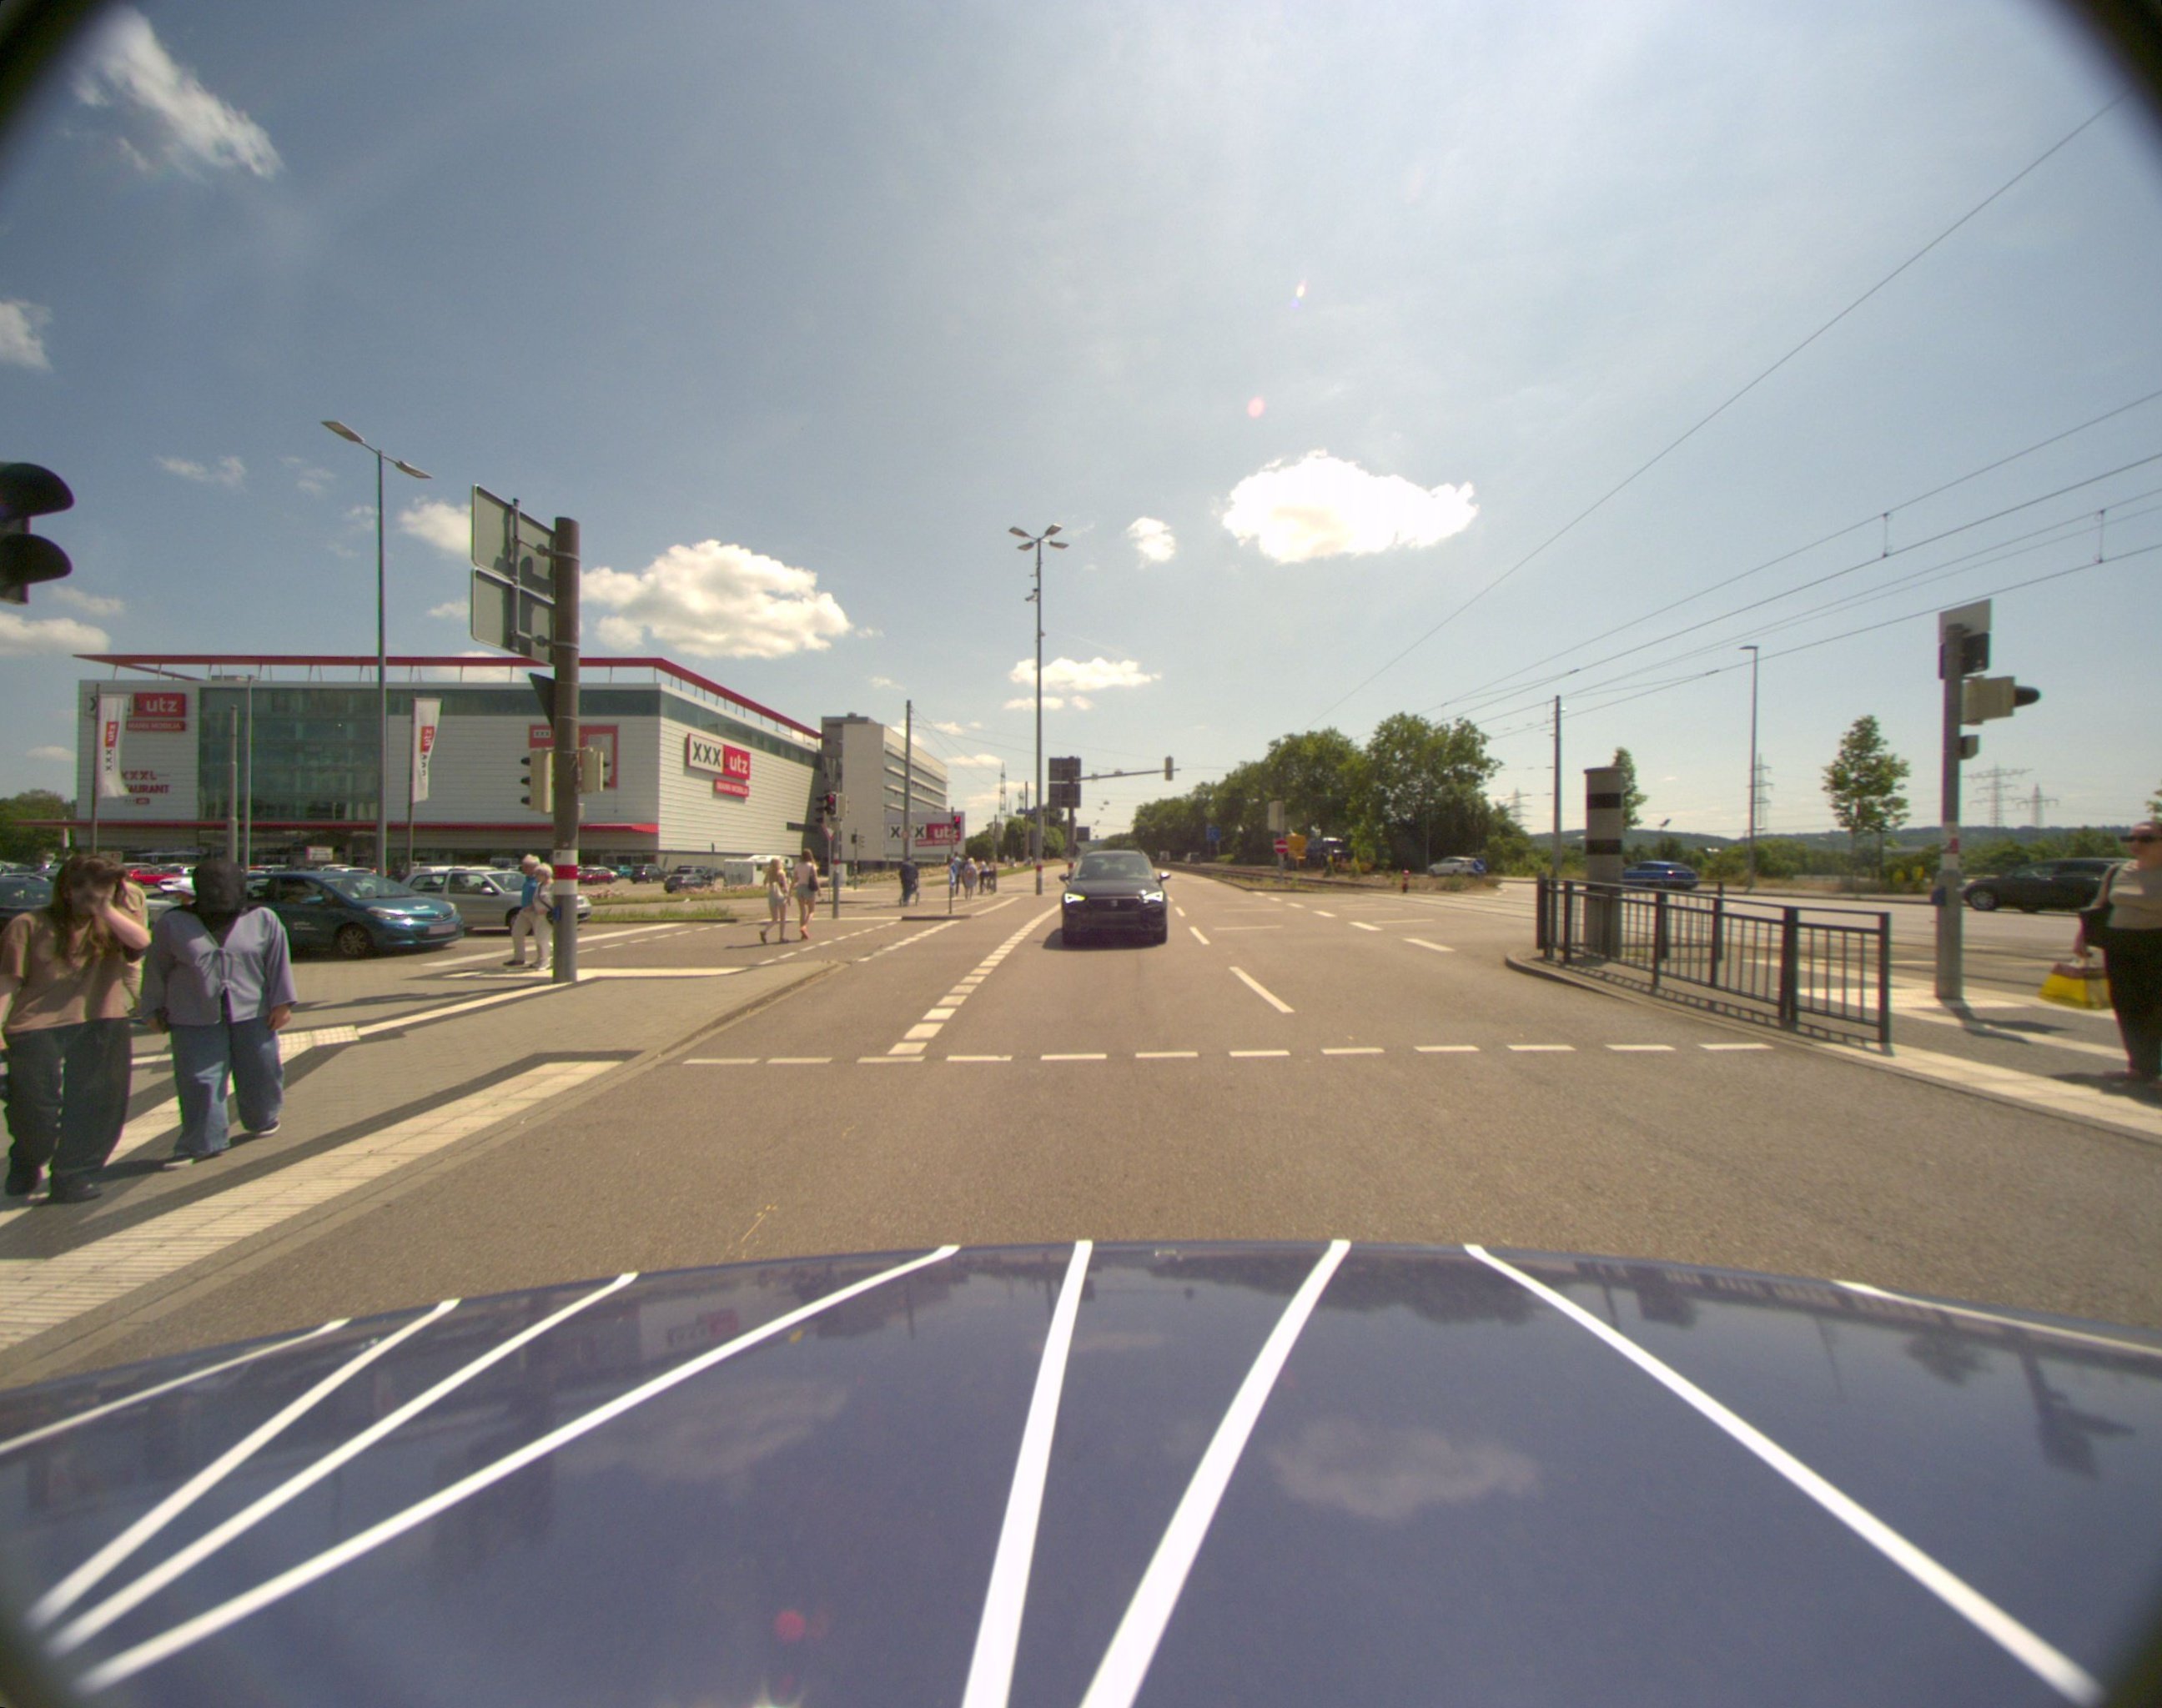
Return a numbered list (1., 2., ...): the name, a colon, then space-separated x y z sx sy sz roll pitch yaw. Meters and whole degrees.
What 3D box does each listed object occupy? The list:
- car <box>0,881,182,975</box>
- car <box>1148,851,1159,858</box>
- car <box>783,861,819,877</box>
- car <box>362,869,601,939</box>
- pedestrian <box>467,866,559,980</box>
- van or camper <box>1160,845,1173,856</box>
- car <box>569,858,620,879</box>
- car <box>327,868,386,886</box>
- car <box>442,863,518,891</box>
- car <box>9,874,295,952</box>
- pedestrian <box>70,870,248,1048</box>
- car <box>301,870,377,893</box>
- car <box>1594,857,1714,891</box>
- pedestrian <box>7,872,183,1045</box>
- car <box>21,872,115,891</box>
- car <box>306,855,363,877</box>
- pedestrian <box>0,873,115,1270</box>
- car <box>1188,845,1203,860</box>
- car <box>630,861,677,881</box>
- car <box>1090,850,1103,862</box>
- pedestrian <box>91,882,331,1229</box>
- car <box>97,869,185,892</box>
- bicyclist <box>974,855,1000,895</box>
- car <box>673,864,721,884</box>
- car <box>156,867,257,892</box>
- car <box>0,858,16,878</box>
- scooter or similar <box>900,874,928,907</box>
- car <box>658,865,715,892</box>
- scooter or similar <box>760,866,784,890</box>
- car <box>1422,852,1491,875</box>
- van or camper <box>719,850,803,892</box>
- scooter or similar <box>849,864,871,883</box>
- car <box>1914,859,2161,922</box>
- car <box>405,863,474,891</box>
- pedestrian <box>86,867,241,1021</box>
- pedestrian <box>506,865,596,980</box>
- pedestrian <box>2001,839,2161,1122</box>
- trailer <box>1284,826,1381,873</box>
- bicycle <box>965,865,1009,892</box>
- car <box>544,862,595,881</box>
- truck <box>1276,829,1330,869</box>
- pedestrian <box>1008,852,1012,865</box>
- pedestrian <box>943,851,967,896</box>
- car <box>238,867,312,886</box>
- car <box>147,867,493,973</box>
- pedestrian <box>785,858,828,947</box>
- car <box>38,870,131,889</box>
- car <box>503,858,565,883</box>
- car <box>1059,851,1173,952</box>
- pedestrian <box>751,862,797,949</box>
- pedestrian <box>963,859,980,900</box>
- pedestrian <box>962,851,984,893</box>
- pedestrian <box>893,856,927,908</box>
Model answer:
1. car: -18.870 1.230 13.163 4.411 1.435 1.853 0 1 1
2. car: 17.491 0.125 183.237 1.999 1.627 4.263 2 0 -4
3. car: -28.345 1.464 77.058 1.999 1.554 4.519 -1 0 -1
4. car: -13.141 1.074 16.828 3.833 1.389 1.803 -1 0 1
5. pedestrian: -8.586 1.017 11.516 0.603 1.628 0.865 -1 2 16
6. van or camper: 20.374 -0.746 181.745 1.999 2.571 5.842 1 0 -3
7. car: -48.700 1.411 76.191 1.998 1.883 4.520 -1 0 2
8. car: -68.699 2.125 72.105 1.693 1.518 4.000 -1 0 1
9. car: -48.971 1.818 62.077 1.998 2.002 4.965 -2 1 3
10. car: -20.080 1.246 16.533 4.228 1.390 1.803 -2 2 6
11. pedestrian: -9.260 1.005 7.663 0.796 1.649 0.853 -1 1 15
12. car: -55.105 2.015 56.524 1.854 1.537 3.998 -1 0 -4
13. car: 26.877 0.905 35.859 2.000 1.436 4.346 -1 0 -9
14. pedestrian: -10.177 1.028 7.870 0.796 1.649 0.853 -1 1 17
15. car: -83.399 2.237 62.657 1.859 1.404 4.256 -1 0 4
16. car: -70.630 1.069 71.974 1.723 2.002 3.604 -1 0 2
17. pedestrian: -4.896 0.932 3.422 0.724 1.673 0.626 0 1 39
18. car: 18.177 -0.207 120.390 1.996 1.826 4.442 2 -5 14
19. car: -43.434 1.729 77.311 1.998 1.883 4.520 -1 0 2
20. car: 2.461 0.369 121.098 1.819 1.829 4.001 -1 0 5
21. pedestrian: -4.730 0.974 4.157 0.894 1.597 0.769 0 1 40
22. car: -76.383 2.134 61.838 1.852 1.692 4.172 -1 0 4
23. bicyclist: -4.130 0.912 33.274 0.797 1.690 0.818 0 -1 40
24. car: -36.404 1.860 72.172 1.998 1.707 4.503 -2 1 2
25. car: -66.695 1.933 58.102 1.852 1.692 4.871 -1 0 5
26. car: -105.500 1.393 72.495 1.999 2.002 3.999 -1 0 -1
27. scooter or similar: -5.575 1.216 25.424 0.691 1.025 0.863 -1 1 4
28. car: -31.700 1.916 61.231 1.998 2.002 4.454 -1 0 4
29. scooter or similar: -17.140 1.333 42.106 0.479 1.283 1.281 -1 1 19
30. car: 24.905 0.618 50.582 2.000 1.454 4.275 -1 0 -9
31. van or camper: -24.913 1.254 59.594 2.714 2.929 7.615 -1 1 5
32. scooter or similar: -14.046 1.248 48.286 0.479 1.120 1.281 -1 4 29
33. car: 27.665 0.969 22.045 2.000 1.620 4.305 -1 0 -11
34. car: -51.644 1.820 61.287 1.998 2.002 4.000 -2 1 2
35. pedestrian: -10.479 0.982 8.702 0.796 1.649 0.853 -1 1 17
36. pedestrian: -7.972 1.001 11.462 0.606 1.628 0.865 -1 2 16
37. pedestrian: 6.342 0.696 4.536 0.787 1.563 0.764 -1 1 -3
38. trailer: 23.258 -0.483 71.703 3.123 3.848 15.475 1 1 -3
39. bicycle: -4.133 1.054 33.221 1.873 1.155 0.833 -1 0 40
40. car: -51.495 1.704 76.610 1.998 1.724 4.520 -1 0 2
41. truck: 22.945 -0.607 79.076 3.134 4.016 7.471 0 2 -2
42. pedestrian: -9.941 0.680 106.546 0.518 1.783 0.634 -1 0 0
43. pedestrian: -5.379 0.827 32.535 0.805 1.854 0.798 -1 1 4
44. car: -68.582 1.894 64.703 1.852 1.430 4.001 -1 0 5
45. car: -13.201 1.104 13.422 3.997 1.547 1.999 -1 2 0
46. pedestrian: -5.249 0.921 14.547 0.528 1.656 0.640 -1 1 4
47. car: -81.128 2.052 61.935 1.859 1.404 4.257 -1 0 4
48. car: -44.294 1.320 61.655 1.589 1.901 4.489 -1 0 3
49. car: 0.635 0.762 14.265 1.819 1.583 4.000 -1 0 2
50. pedestrian: -5.685 0.937 14.090 0.528 1.570 0.612 -1 1 4
51. pedestrian: -4.045 0.932 28.095 0.591 1.467 0.805 -2 1 -8
52. pedestrian: -4.669 0.760 32.741 0.806 1.749 0.796 -1 1 -15
53. pedestrian: -5.639 0.897 25.086 0.783 1.663 0.947 -1 1 7
